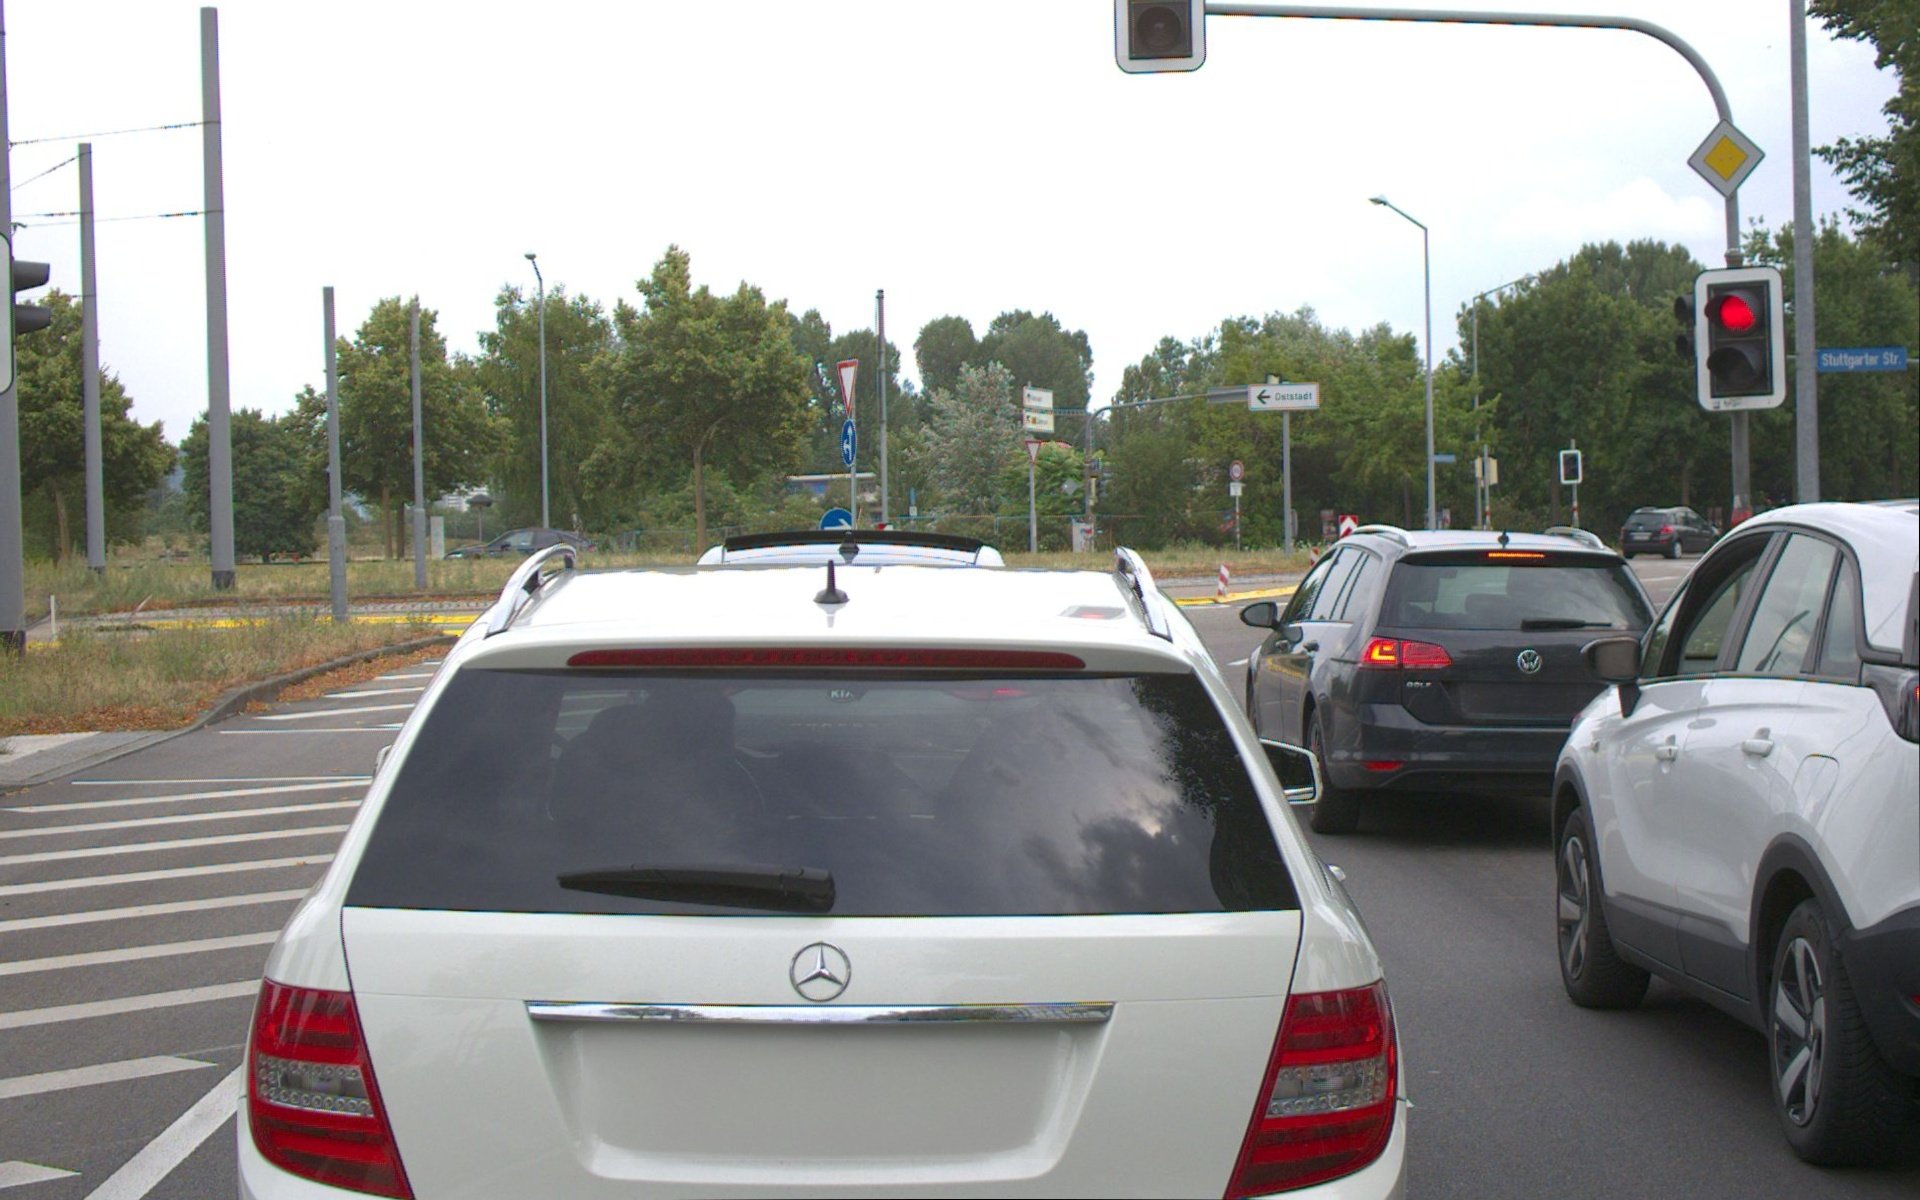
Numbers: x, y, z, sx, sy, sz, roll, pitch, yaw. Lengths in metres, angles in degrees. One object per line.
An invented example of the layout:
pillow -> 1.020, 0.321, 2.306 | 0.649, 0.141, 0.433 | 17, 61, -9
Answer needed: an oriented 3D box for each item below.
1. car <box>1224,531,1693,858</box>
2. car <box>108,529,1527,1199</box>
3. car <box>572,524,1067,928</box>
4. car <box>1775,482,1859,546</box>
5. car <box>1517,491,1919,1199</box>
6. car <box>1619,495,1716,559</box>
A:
car -> 2.382, 0.384, 17.338 | 1.624, 1.443, 3.911 | 0, 1, -2
car -> -0.260, 0.606, 6.274 | 1.773, 1.443, 3.911 | 0, 1, -2
car -> -0.591, 0.415, 14.346 | 1.773, 1.443, 3.911 | 0, 1, -2
car -> 22.850, -2.309, 91.804 | 1.784, 1.630, 4.400 | -1, 1, 9
car -> 2.745, 0.518, 9.304 | 1.787, 1.619, 3.911 | -1, 1, 0
car -> 20.754, -2.117, 100.760 | 1.996, 1.784, 3.995 | 2, 1, 23
